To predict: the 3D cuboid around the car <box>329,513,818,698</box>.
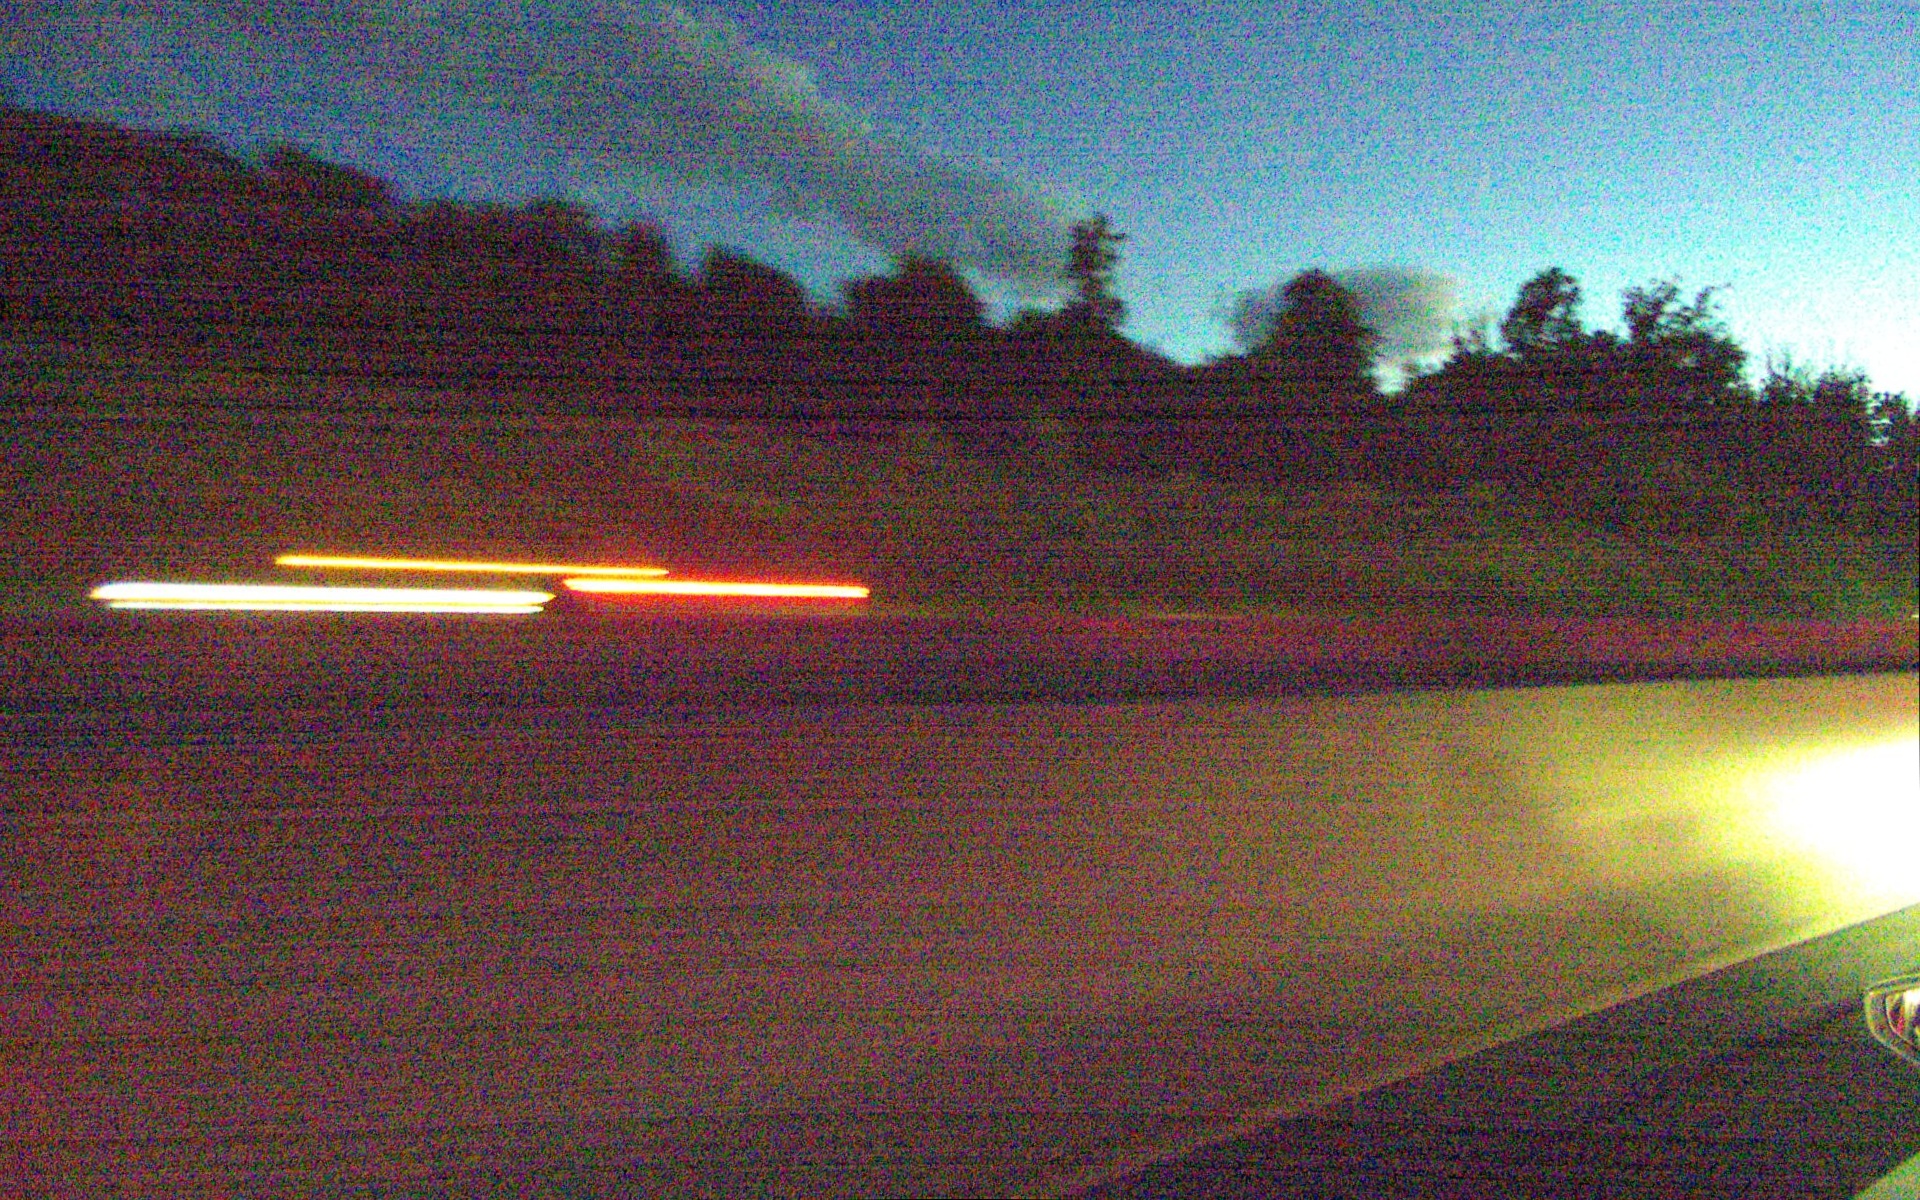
[{"bbox_3d":[-4.453,0.034,11.945,5.111,1.800,1.982,1,2,-32],"label":"car"}]
